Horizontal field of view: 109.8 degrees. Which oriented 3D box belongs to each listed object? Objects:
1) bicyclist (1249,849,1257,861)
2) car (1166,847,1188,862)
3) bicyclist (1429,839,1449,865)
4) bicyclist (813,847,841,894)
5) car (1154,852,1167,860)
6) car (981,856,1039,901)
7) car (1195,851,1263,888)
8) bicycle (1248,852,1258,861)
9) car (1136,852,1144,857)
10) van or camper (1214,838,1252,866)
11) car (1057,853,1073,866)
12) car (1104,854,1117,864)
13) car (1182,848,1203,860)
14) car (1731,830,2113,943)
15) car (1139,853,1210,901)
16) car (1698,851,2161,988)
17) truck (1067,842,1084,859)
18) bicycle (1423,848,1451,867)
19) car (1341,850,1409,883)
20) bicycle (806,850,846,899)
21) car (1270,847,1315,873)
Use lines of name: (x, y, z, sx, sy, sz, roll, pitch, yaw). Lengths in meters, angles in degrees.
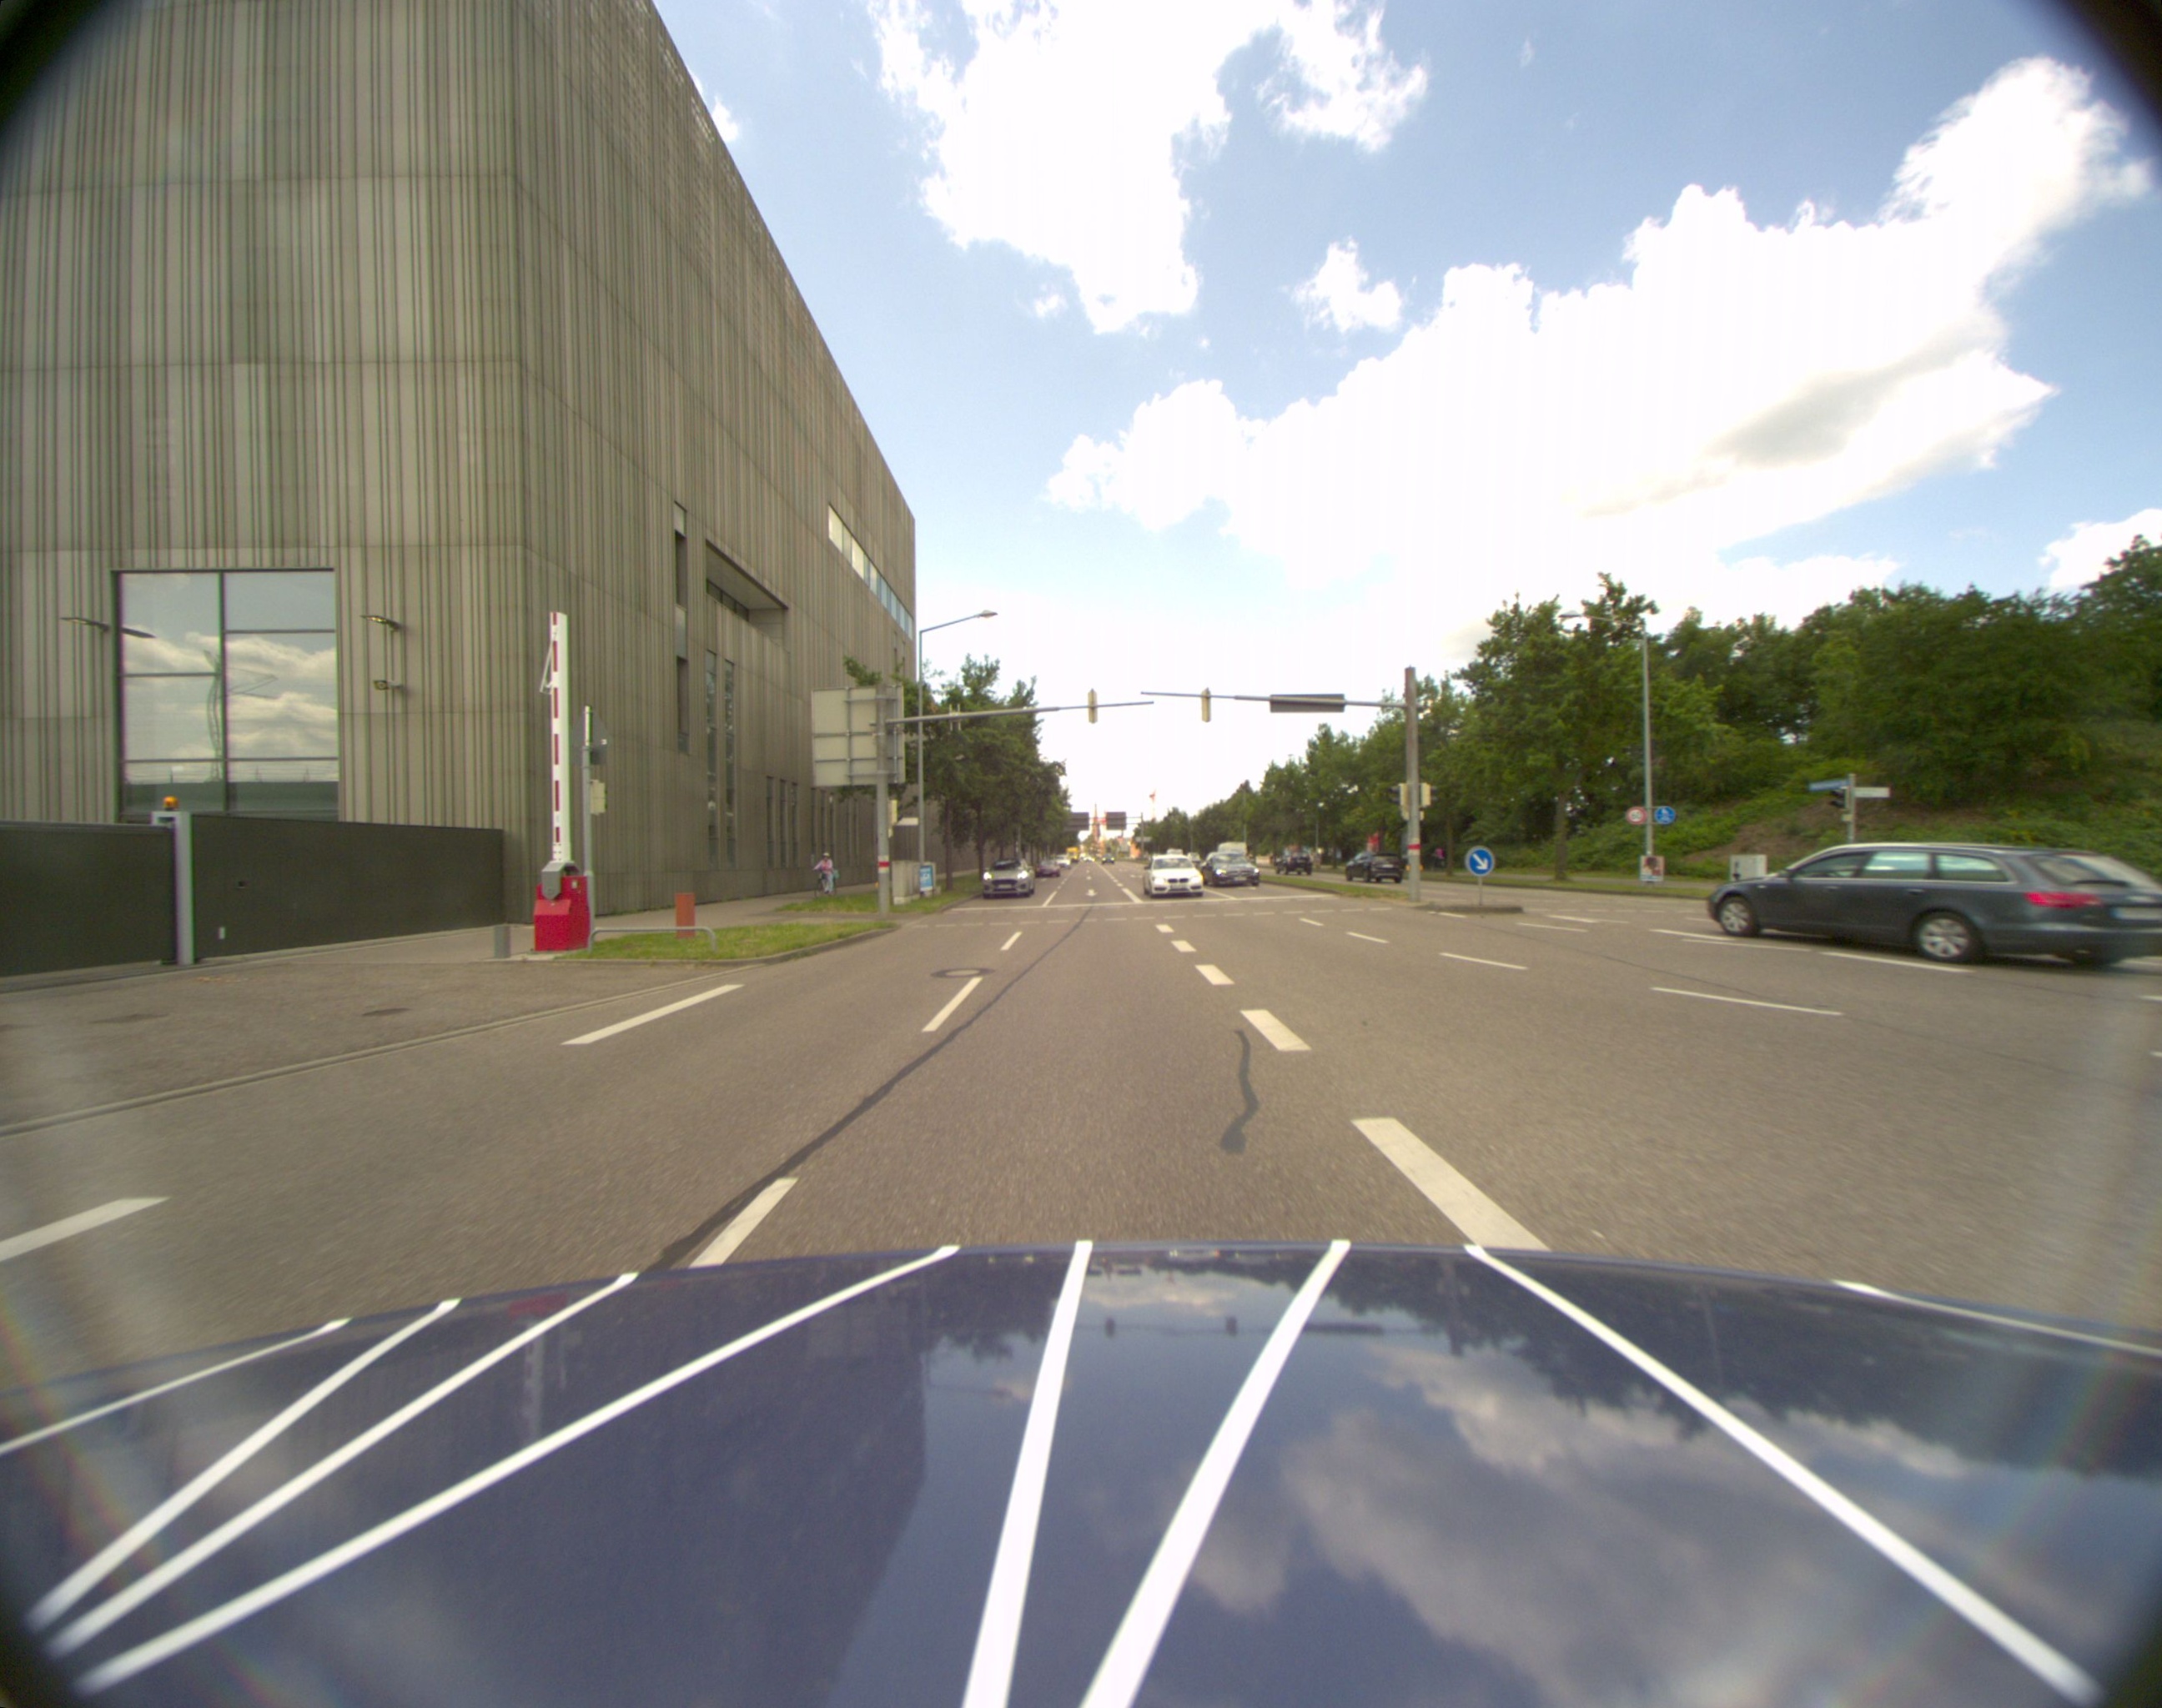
bicyclist: (23.346, 0.090, 103.271, 0.740, 1.648, 0.980, -1, 1, -4)
car: (12.759, 0.076, 101.202, 2.196, 1.952, 5.193, -1, 0, -1)
bicyclist: (24.264, -0.141, 51.475, 0.894, 1.737, 0.997, -2, 1, 3)
bicyclist: (-9.561, 0.613, 28.631, 0.717, 1.758, 0.988, -1, 1, -3)
car: (14.546, 0.422, 139.575, 1.998, 1.423, 5.024, -1, 0, 1)
car: (-2.766, 0.922, 30.295, 1.823, 1.565, 3.954, -3, 0, 1)
car: (6.243, 0.609, 32.614, 1.998, 1.407, 4.832, -2, 0, 1)
bicycle: (23.356, 0.341, 103.165, 0.752, 1.155, 2.257, -1, 0, -3)
car: (15.914, 0.143, 205.314, 1.964, 1.508, 4.909, -1, 0, 0)
van or camper: (15.154, -0.191, 76.190, 2.358, 2.525, 7.063, -2, 0, 0)
car: (-1.776, 0.603, 85.421, 1.713, 1.487, 3.650, -1, 0, 1)
car: (4.362, 0.682, 112.631, 1.782, 1.487, 3.598, -1, 0, 1)
car: (16.144, 0.010, 110.110, 1.999, 1.791, 4.407, -1, 0, -5)
car: (14.092, 0.463, 13.229, 1.810, 1.623, 4.392, -1, 0, 1)
car: (3.200, 0.745, 26.729, 1.920, 1.406, 4.295, -4, 0, 1)
car: (11.061, 0.651, 10.032, 1.979, 1.381, 4.780, 0, 0, 1)
truck: (-0.995, -0.589, 140.120, 3.066, 3.095, 7.935, -1, 0, 1)
bicycle: (24.289, 0.216, 51.918, 0.824, 1.263, 2.393, -2, 1, 1)
car: (14.699, 0.593, 38.204, 1.930, 1.520, 4.000, -1, 1, 1)
bicycle: (-9.558, 0.731, 28.567, 0.721, 1.763, 2.533, -1, 0, -3)
car: (14.684, 0.409, 52.954, 1.998, 1.756, 4.220, -1, 0, 0)
